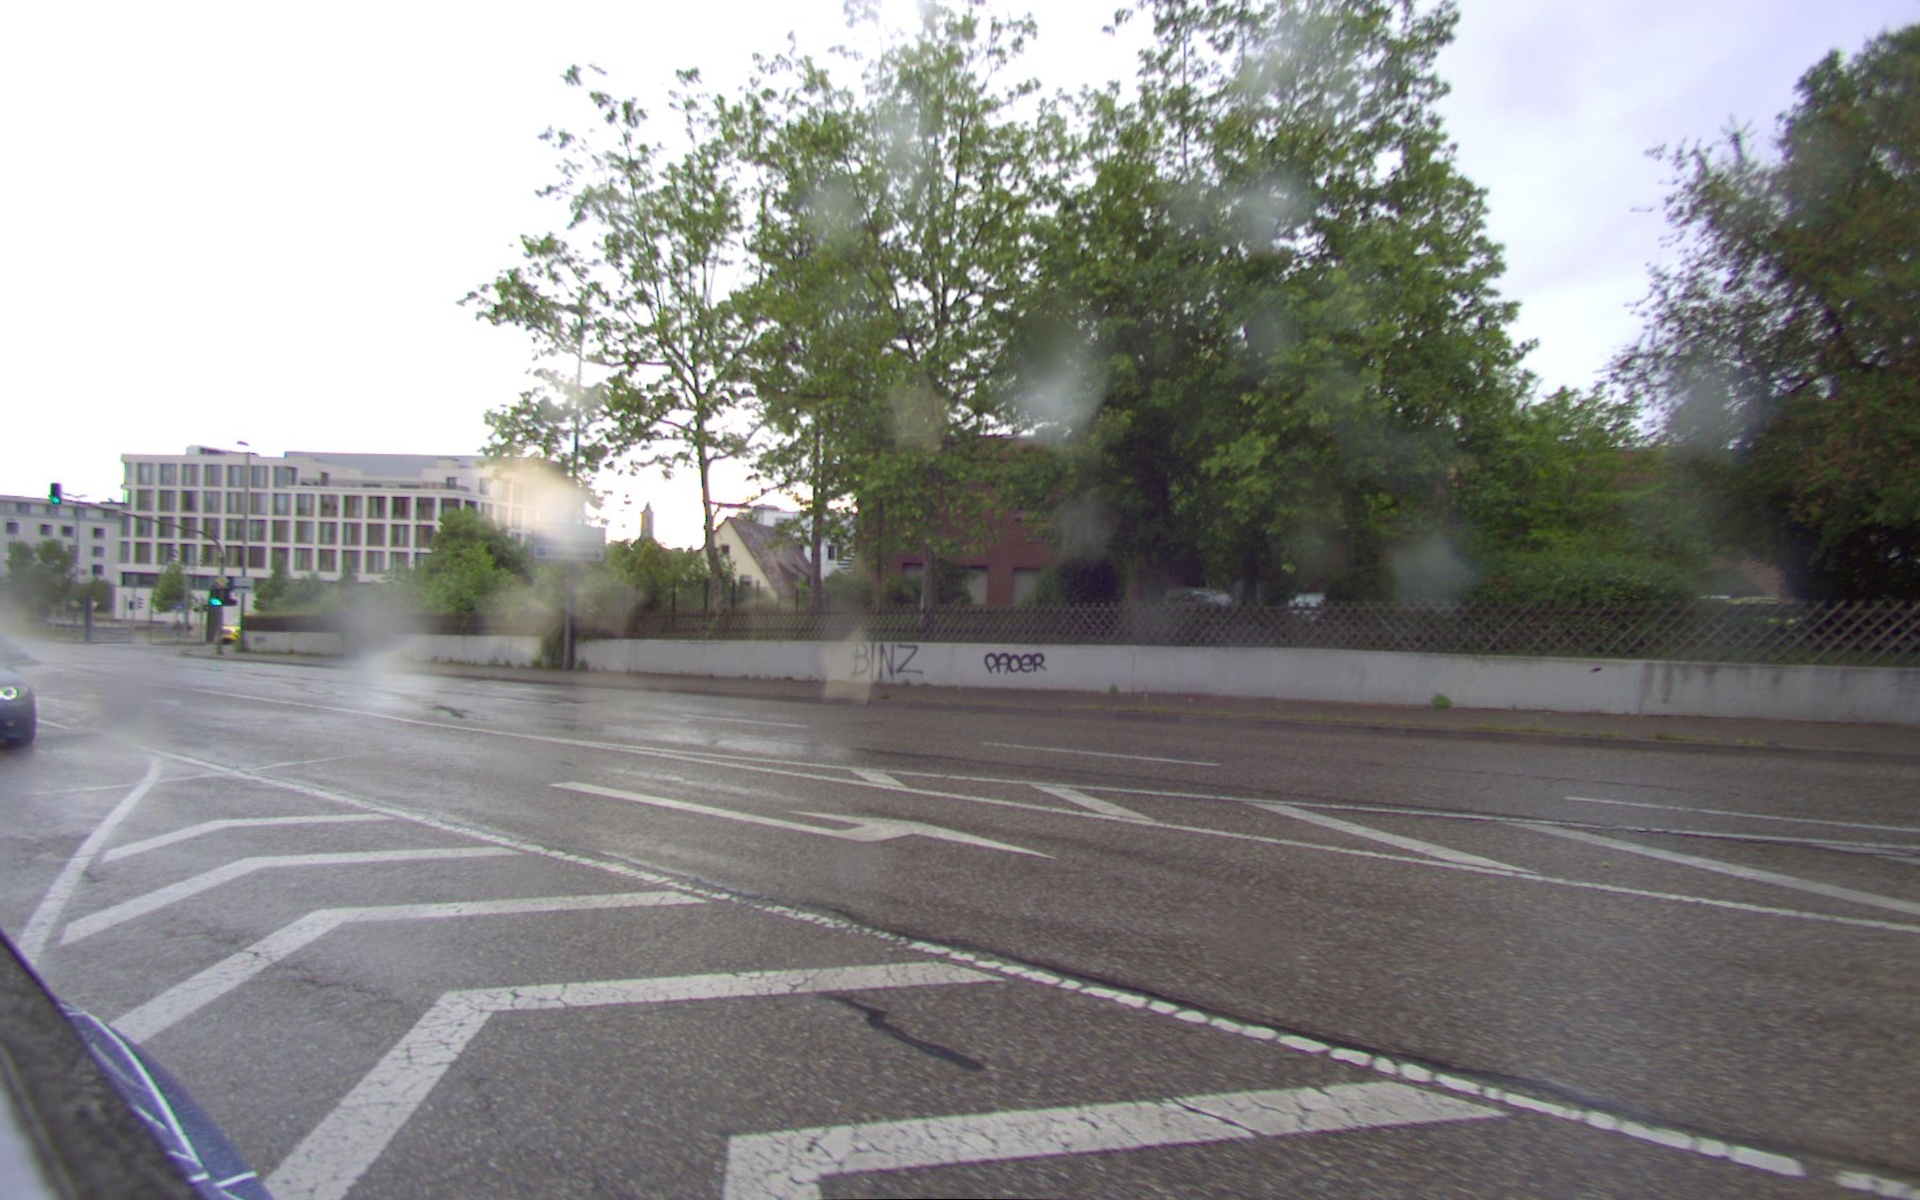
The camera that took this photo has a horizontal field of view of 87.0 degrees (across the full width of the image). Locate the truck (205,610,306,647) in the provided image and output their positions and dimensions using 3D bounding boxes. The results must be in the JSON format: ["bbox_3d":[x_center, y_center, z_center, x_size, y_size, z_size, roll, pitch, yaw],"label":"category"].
[{"bbox_3d":[-52.655,2.192,75.794,2.208,2.557,6.145,1,-3,15],"label":"truck"}]

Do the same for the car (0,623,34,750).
[{"bbox_3d":[-12.466,0.983,12.041,3.703,1.353,1.764,0,0,41],"label":"car"}]
